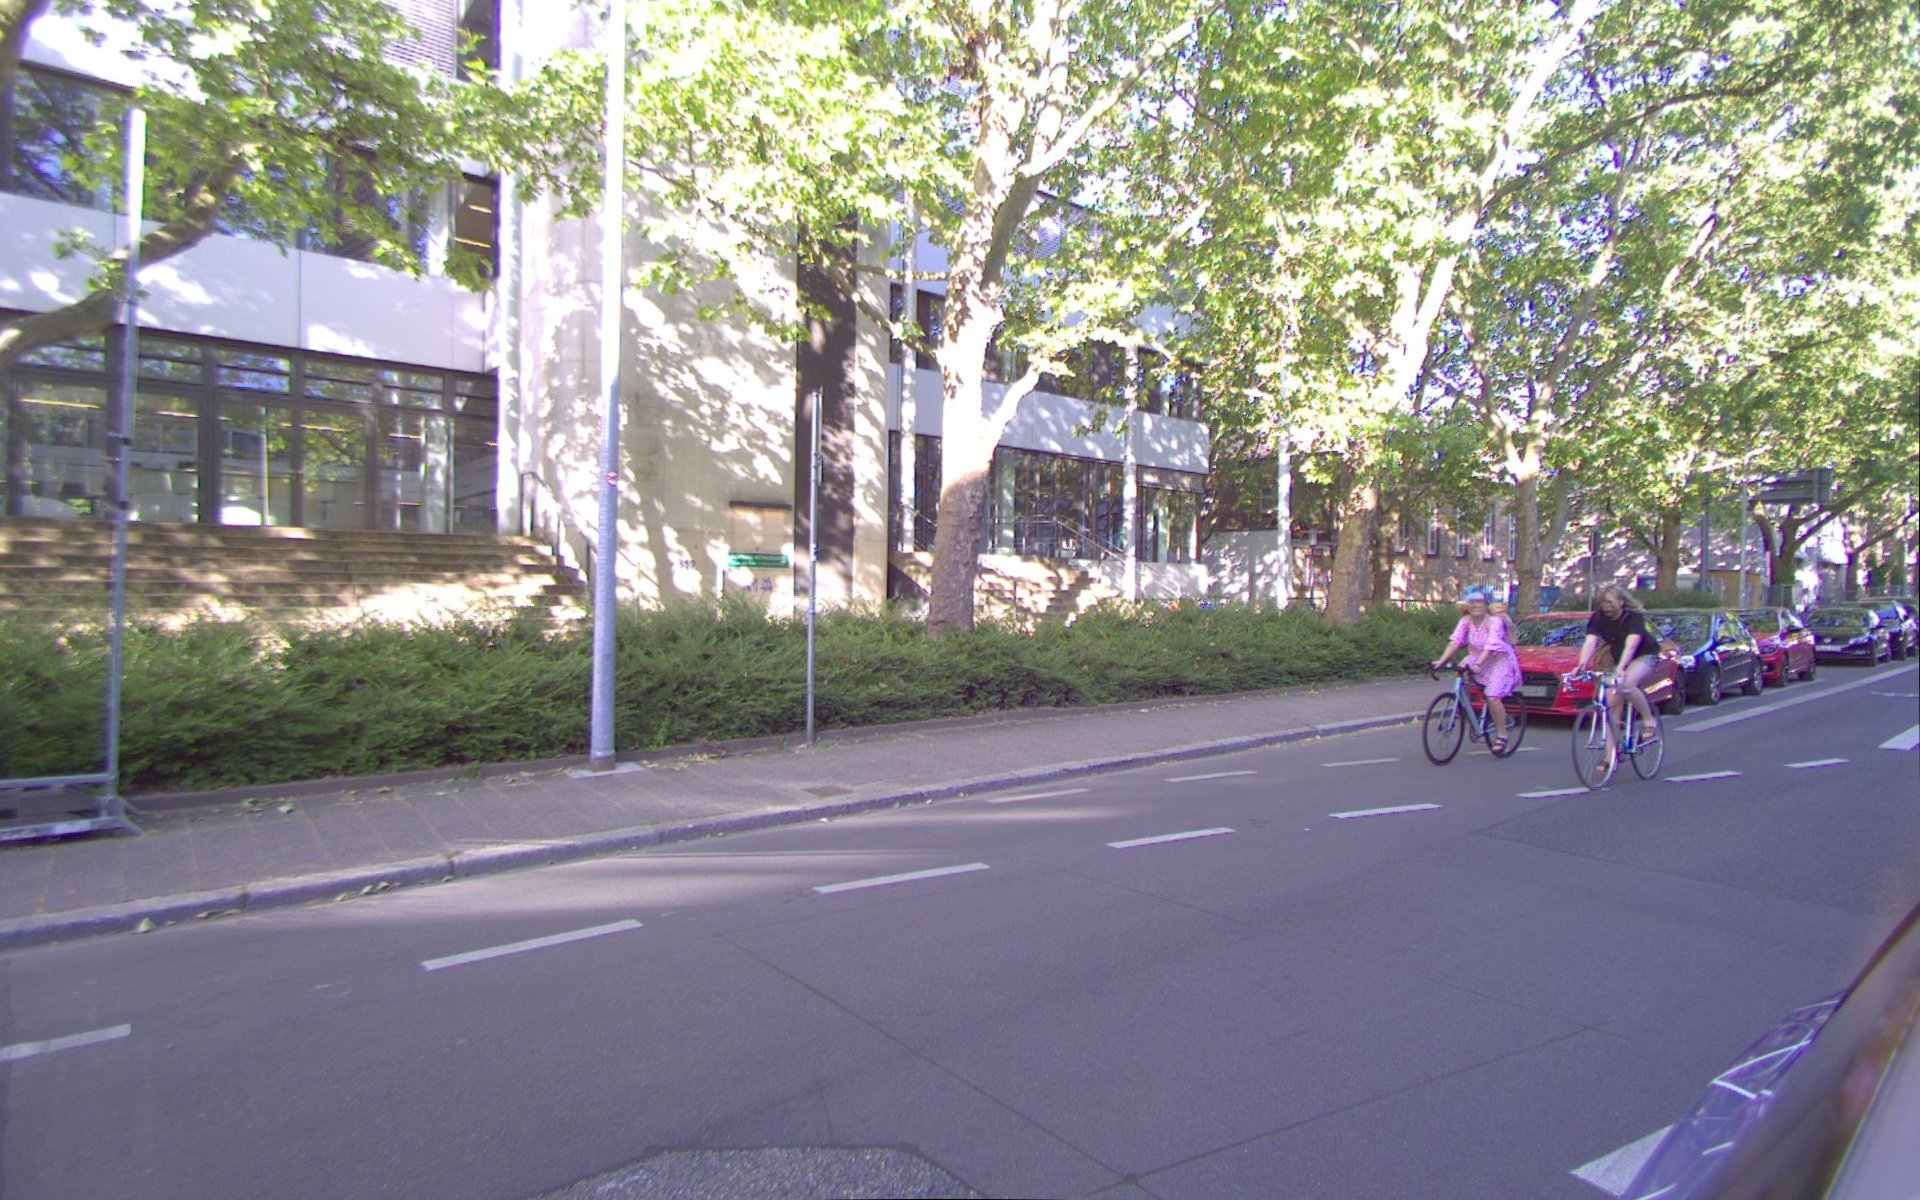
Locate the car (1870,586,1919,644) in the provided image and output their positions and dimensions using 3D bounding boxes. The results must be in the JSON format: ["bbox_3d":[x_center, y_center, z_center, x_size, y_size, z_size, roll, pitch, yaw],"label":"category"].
[{"bbox_3d":[31.134,0.469,33.031,3.777,1.828,1.634,0,-1,-41],"label":"car"}]

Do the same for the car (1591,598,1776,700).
[{"bbox_3d":[11.879,0.716,16.536,3.674,1.483,1.634,0,-1,-41],"label":"car"}]

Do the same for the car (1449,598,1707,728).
[{"bbox_3d":[8.345,0.721,13.534,4.053,1.483,1.802,0,-1,-41],"label":"car"}]

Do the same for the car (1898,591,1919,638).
[{"bbox_3d":[35.936,0.524,37.241,3.777,1.675,1.634,0,-1,-41],"label":"car"}]

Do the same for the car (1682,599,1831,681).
[{"bbox_3d":[15.759,0.721,19.967,3.674,1.483,1.634,0,-1,-41],"label":"car"}]

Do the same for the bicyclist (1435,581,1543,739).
[{"bbox_3d":[5.046,0.546,9.648,0.915,1.420,0.601,0,-1,-41],"label":"bicyclist"}]

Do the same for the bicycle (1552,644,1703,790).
[{"bbox_3d":[5.621,0.925,8.485,1.701,1.039,0.611,0,-1,-41],"label":"bicycle"}]

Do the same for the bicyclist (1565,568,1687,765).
[{"bbox_3d":[5.561,0.523,8.444,0.874,1.535,0.611,0,-1,-41],"label":"bicyclist"}]

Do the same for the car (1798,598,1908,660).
[{"bbox_3d":[22.969,0.693,25.991,3.674,1.483,1.634,0,-1,-41],"label":"car"}]

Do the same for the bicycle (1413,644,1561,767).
[{"bbox_3d":[5.044,0.956,9.642,1.848,0.997,0.601,0,-1,-41],"label":"bicycle"}]

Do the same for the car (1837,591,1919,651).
[{"bbox_3d":[26.592,0.579,29.031,3.777,1.607,1.634,0,-1,-41],"label":"car"}]
